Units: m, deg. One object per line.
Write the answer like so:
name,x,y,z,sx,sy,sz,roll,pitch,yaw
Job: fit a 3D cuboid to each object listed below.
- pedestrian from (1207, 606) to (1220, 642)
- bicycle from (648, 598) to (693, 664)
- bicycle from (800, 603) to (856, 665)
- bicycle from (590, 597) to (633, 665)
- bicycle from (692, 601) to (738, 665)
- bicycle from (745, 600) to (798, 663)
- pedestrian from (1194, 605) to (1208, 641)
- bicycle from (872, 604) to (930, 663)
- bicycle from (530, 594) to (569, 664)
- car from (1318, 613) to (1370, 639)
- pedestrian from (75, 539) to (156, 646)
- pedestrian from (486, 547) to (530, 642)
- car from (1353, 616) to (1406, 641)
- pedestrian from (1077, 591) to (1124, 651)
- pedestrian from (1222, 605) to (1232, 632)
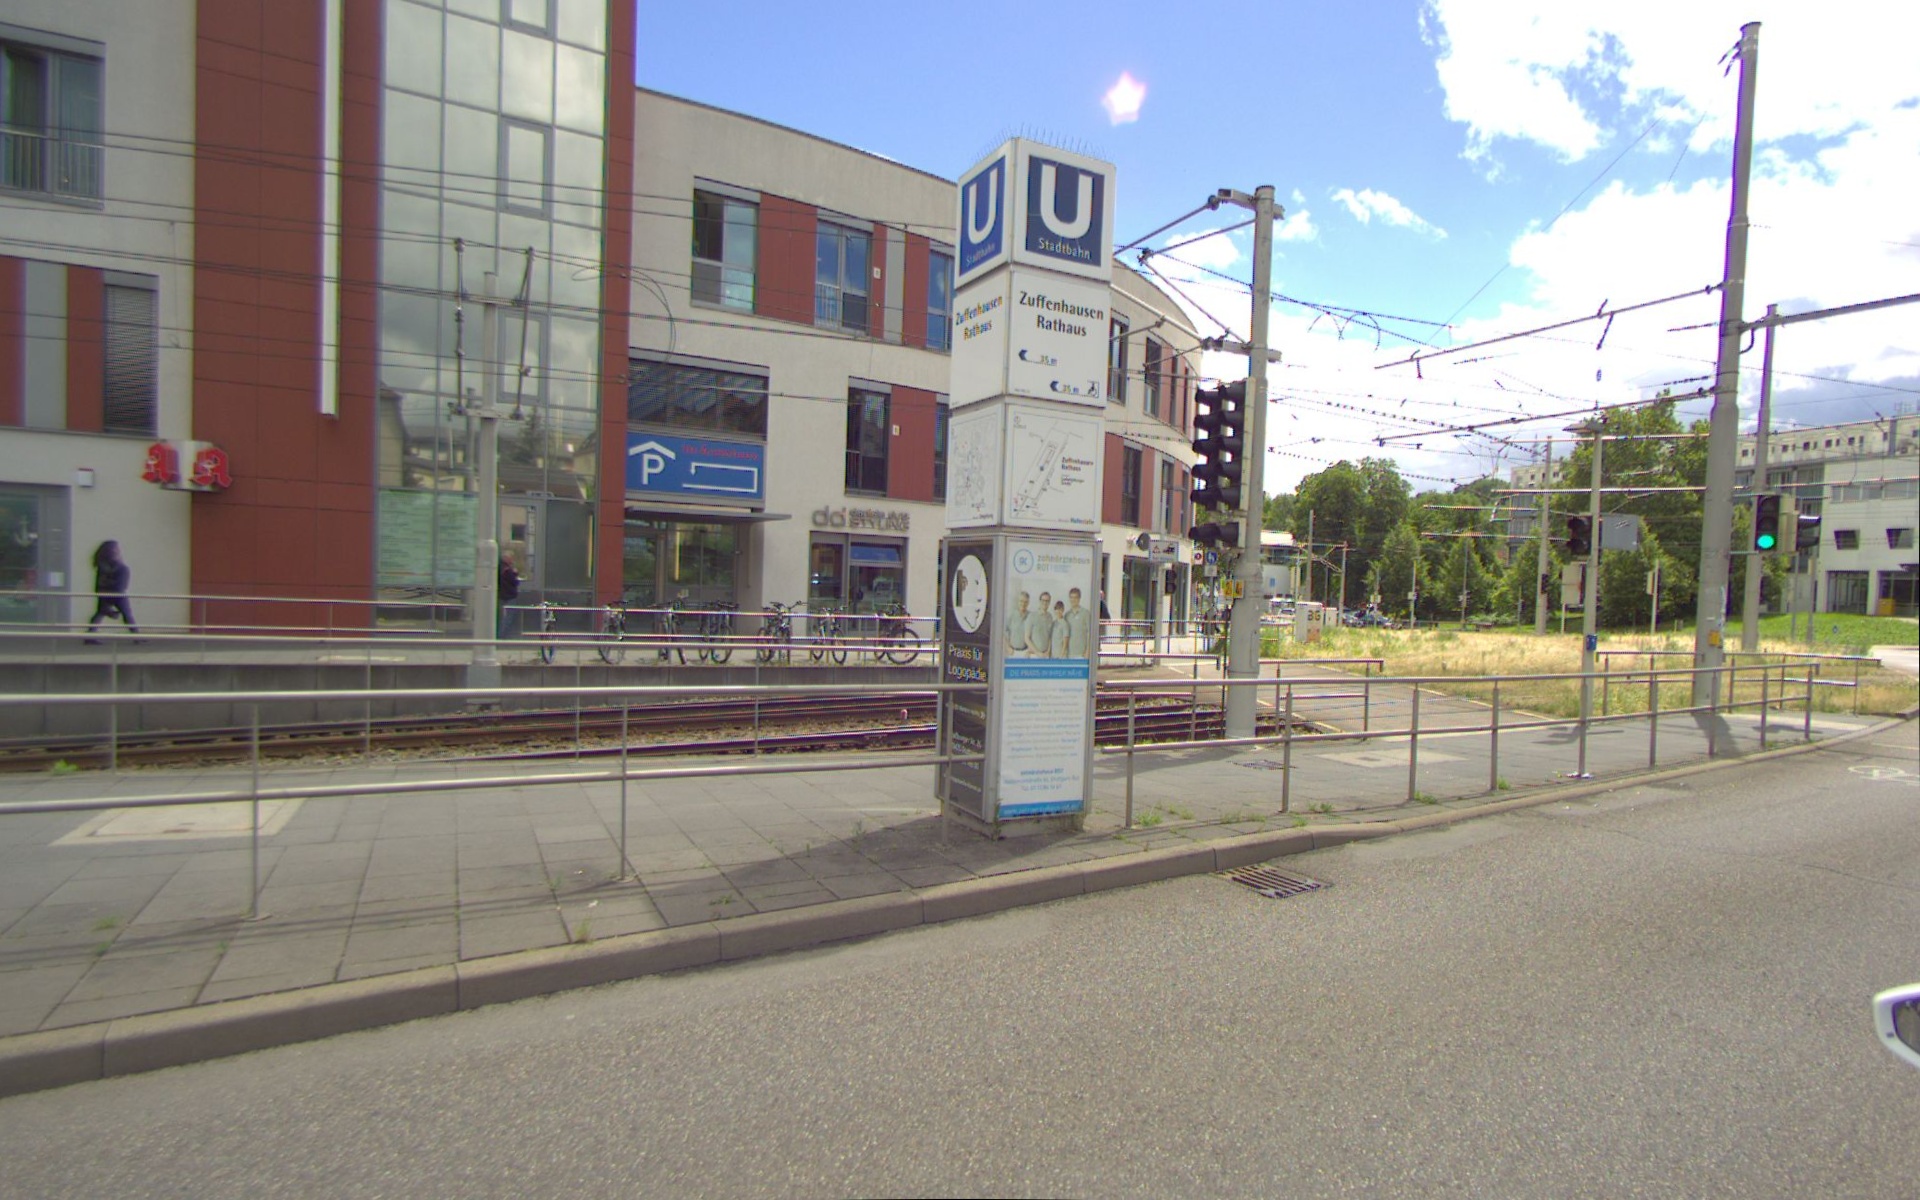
pedestrian,11.068,1.041,43.846,0.459,1.551,0.406,4,2,16
bicycle,-5.129,0.534,17.770,0.403,1.115,1.501,3,-1,-28
bicycle,-2.531,0.630,19.158,0.508,1.115,1.559,3,-1,-28
bicycle,-6.009,0.513,17.287,0.403,1.115,1.501,3,-1,-28
bicycle,-4.436,0.577,18.143,0.403,1.115,1.501,3,-1,-28
bicycle,-3.514,0.565,18.680,0.487,1.115,1.501,3,-1,-28
pedestrian,10.565,0.999,43.998,0.459,1.551,0.458,4,2,16
bicycle,-1.182,0.648,19.884,0.508,1.115,1.559,3,-1,-28
bicycle,-6.902,0.466,16.851,0.403,1.115,1.559,3,-1,-28
car,33.285,2.232,87.105,1.968,1.791,4.200,4,2,-17
pedestrian,-13.883,-0.126,16.529,0.832,1.671,0.654,3,2,-27
pedestrian,-9.317,-0.119,20.685,0.730,1.876,0.654,3,2,-26
car,36.301,2.458,87.025,1.968,1.791,4.200,4,2,-17
pedestrian,3.899,0.590,27.877,0.855,1.592,0.843,2,3,-43
pedestrian,15.568,1.057,58.519,0.459,1.551,0.406,5,2,17
